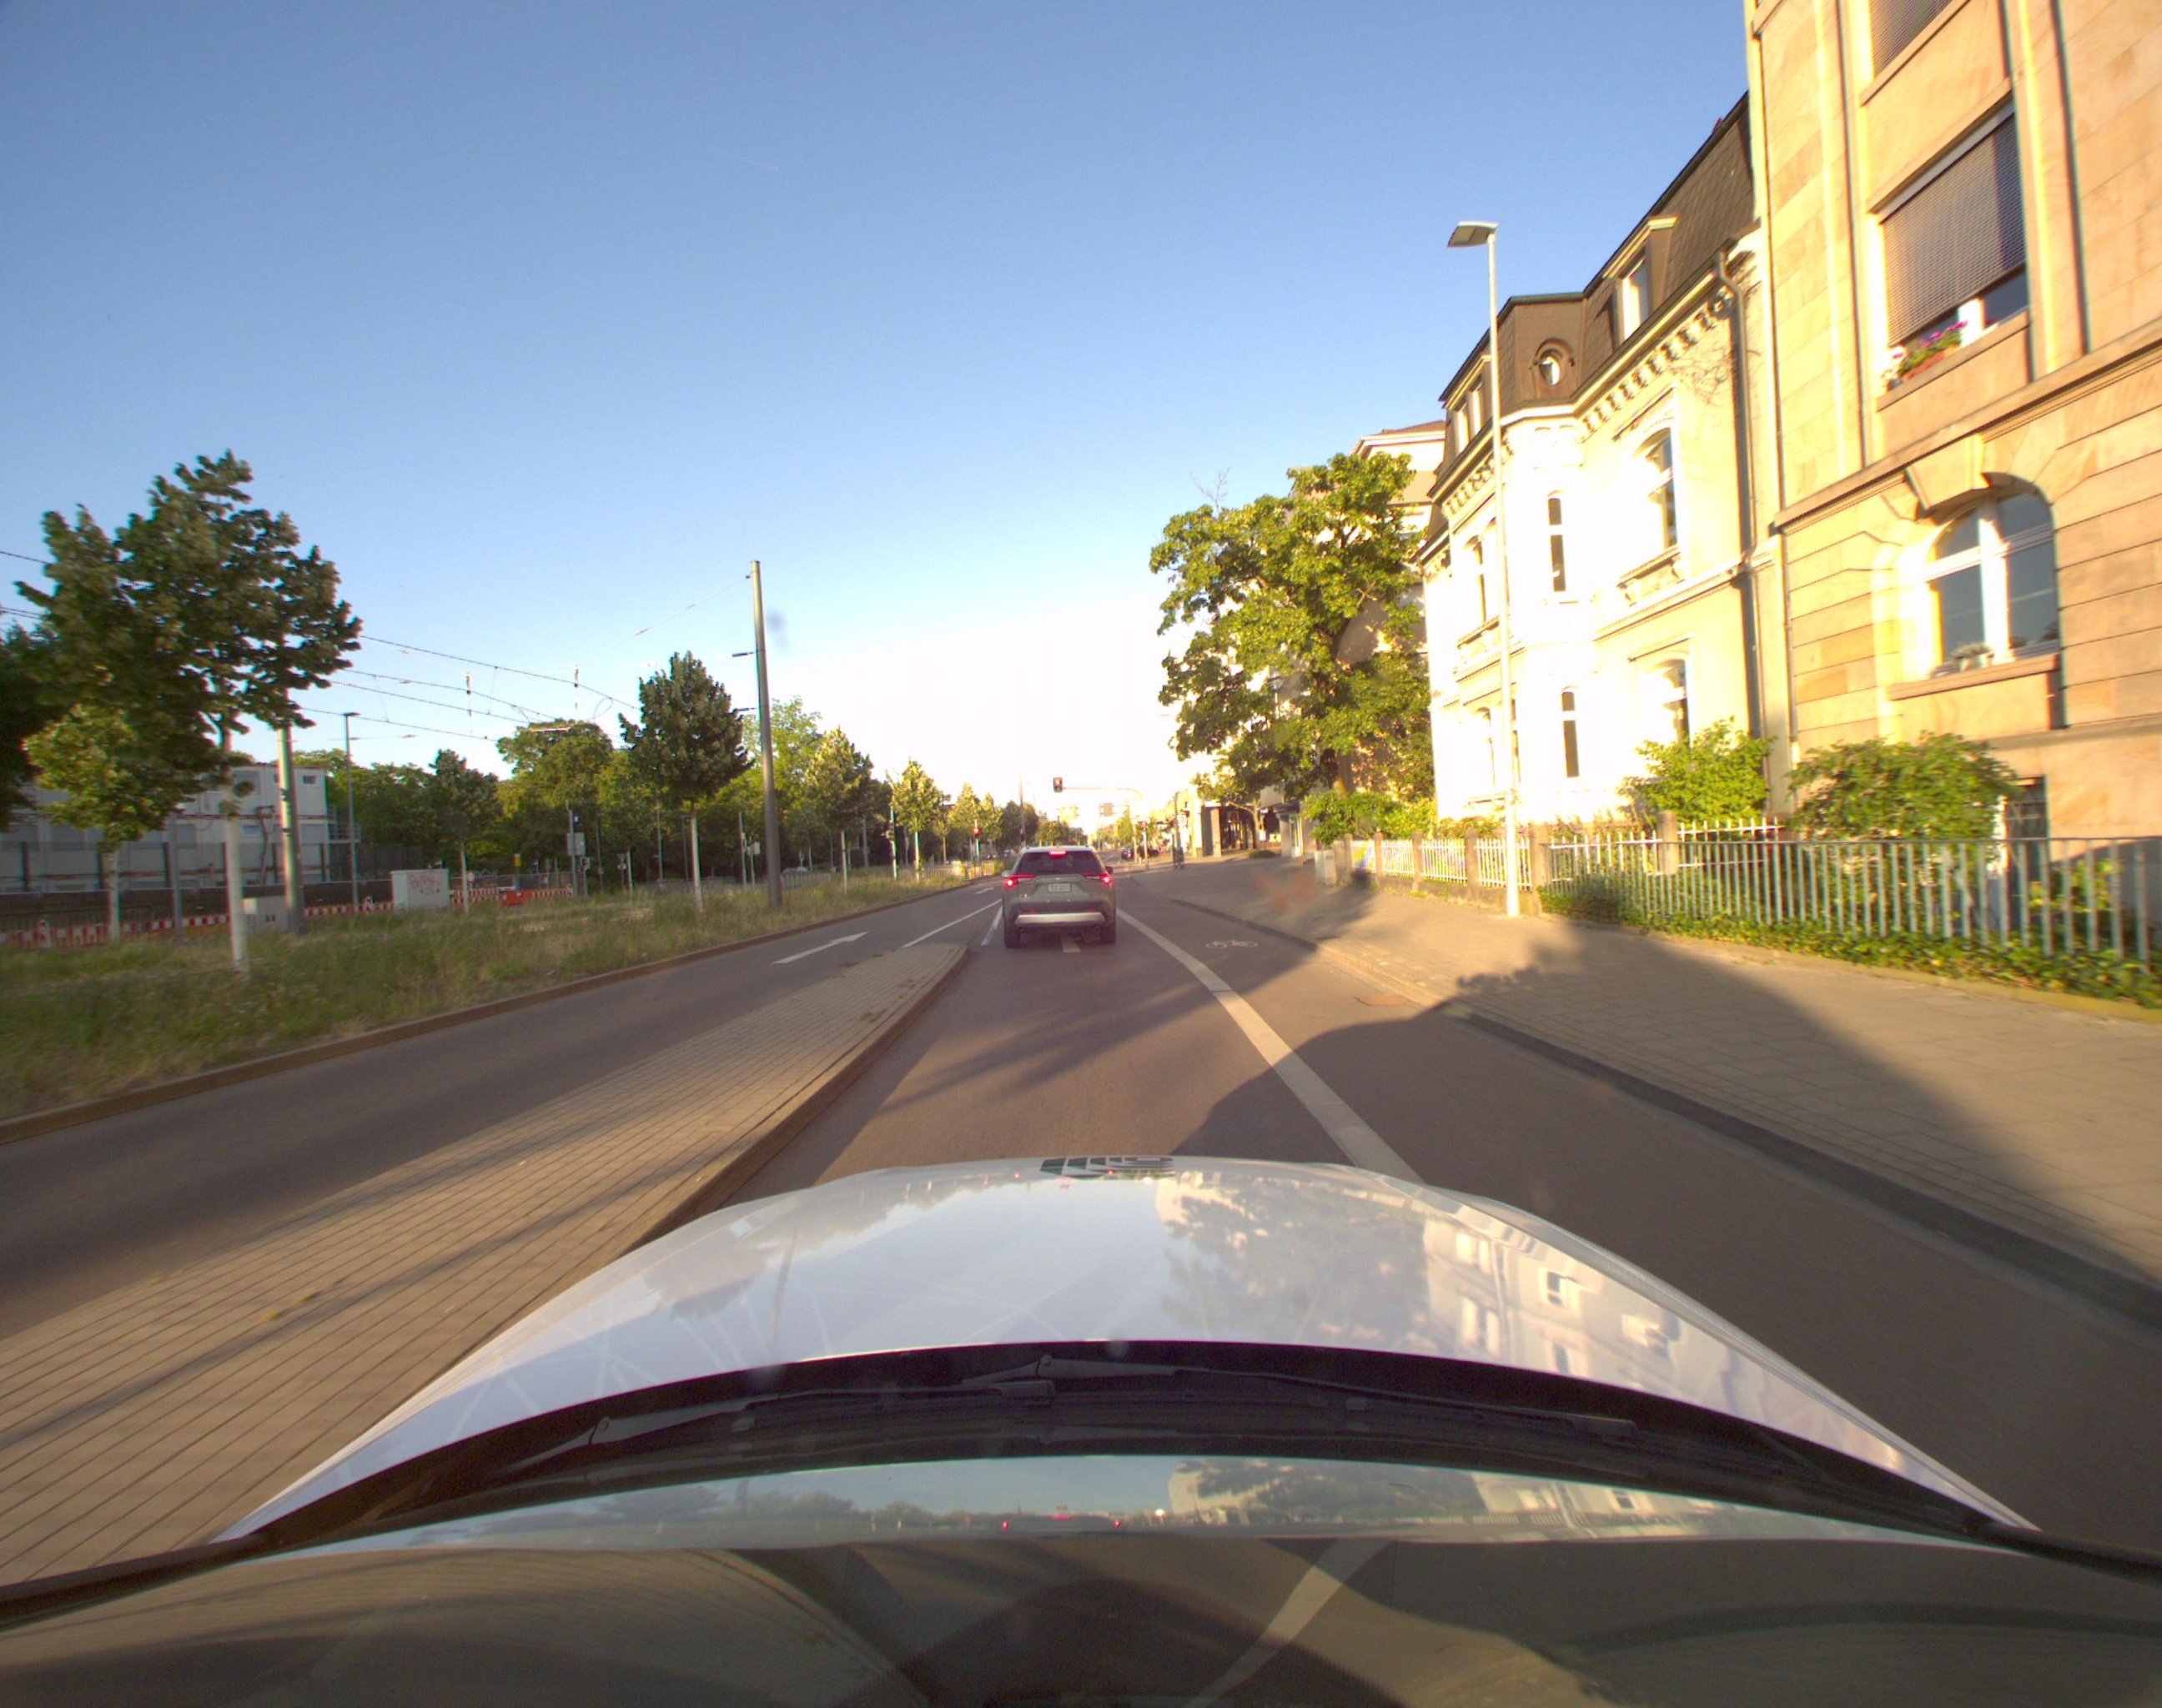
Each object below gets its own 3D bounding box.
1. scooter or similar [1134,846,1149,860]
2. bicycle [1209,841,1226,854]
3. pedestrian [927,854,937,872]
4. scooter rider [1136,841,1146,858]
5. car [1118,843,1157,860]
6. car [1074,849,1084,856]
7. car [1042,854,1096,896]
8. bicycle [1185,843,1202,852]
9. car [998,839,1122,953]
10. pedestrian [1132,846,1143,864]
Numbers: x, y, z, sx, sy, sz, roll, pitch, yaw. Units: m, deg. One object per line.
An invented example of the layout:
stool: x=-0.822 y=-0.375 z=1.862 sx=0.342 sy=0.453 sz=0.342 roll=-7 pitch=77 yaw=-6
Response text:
scooter or similar: x=5.538 y=-0.096 z=74.980 sx=1.323 sy=1.153 sz=0.514 roll=-4 pitch=0 yaw=3
bicycle: x=12.471 y=-0.591 z=74.554 sx=0.690 sy=1.149 sz=2.011 roll=0 pitch=-1 yaw=-17
pedestrian: x=-14.872 y=0.923 z=81.305 sx=0.832 sy=1.712 sz=0.647 roll=-3 pitch=0 yaw=0
scooter rider: x=5.511 y=-0.446 z=74.981 sx=0.817 sy=1.514 sz=0.653 roll=-3 pitch=0 yaw=3
car: x=6.250 y=-0.243 z=89.977 sx=4.292 sy=1.658 sz=1.838 roll=-3 pitch=2 yaw=-42
car: x=-0.376 y=-0.397 z=180.182 sx=1.972 sy=1.433 sz=4.844 roll=-2 pitch=2 yaw=1
car: x=-0.569 y=0.824 z=34.725 sx=1.929 sy=1.481 sz=4.514 roll=-2 pitch=2 yaw=-5
bicycle: x=14.126 y=-0.779 z=102.180 sx=2.005 sy=1.149 sz=0.692 roll=0 pitch=-1 yaw=7
car: x=-0.403 y=0.602 z=14.727 sx=1.850 sy=1.658 sz=4.265 roll=-2 pitch=2 yaw=-2
pedestrian: x=5.034 y=0.061 z=72.736 sx=0.832 sy=1.586 sz=0.812 roll=-3 pitch=0 yaw=2
